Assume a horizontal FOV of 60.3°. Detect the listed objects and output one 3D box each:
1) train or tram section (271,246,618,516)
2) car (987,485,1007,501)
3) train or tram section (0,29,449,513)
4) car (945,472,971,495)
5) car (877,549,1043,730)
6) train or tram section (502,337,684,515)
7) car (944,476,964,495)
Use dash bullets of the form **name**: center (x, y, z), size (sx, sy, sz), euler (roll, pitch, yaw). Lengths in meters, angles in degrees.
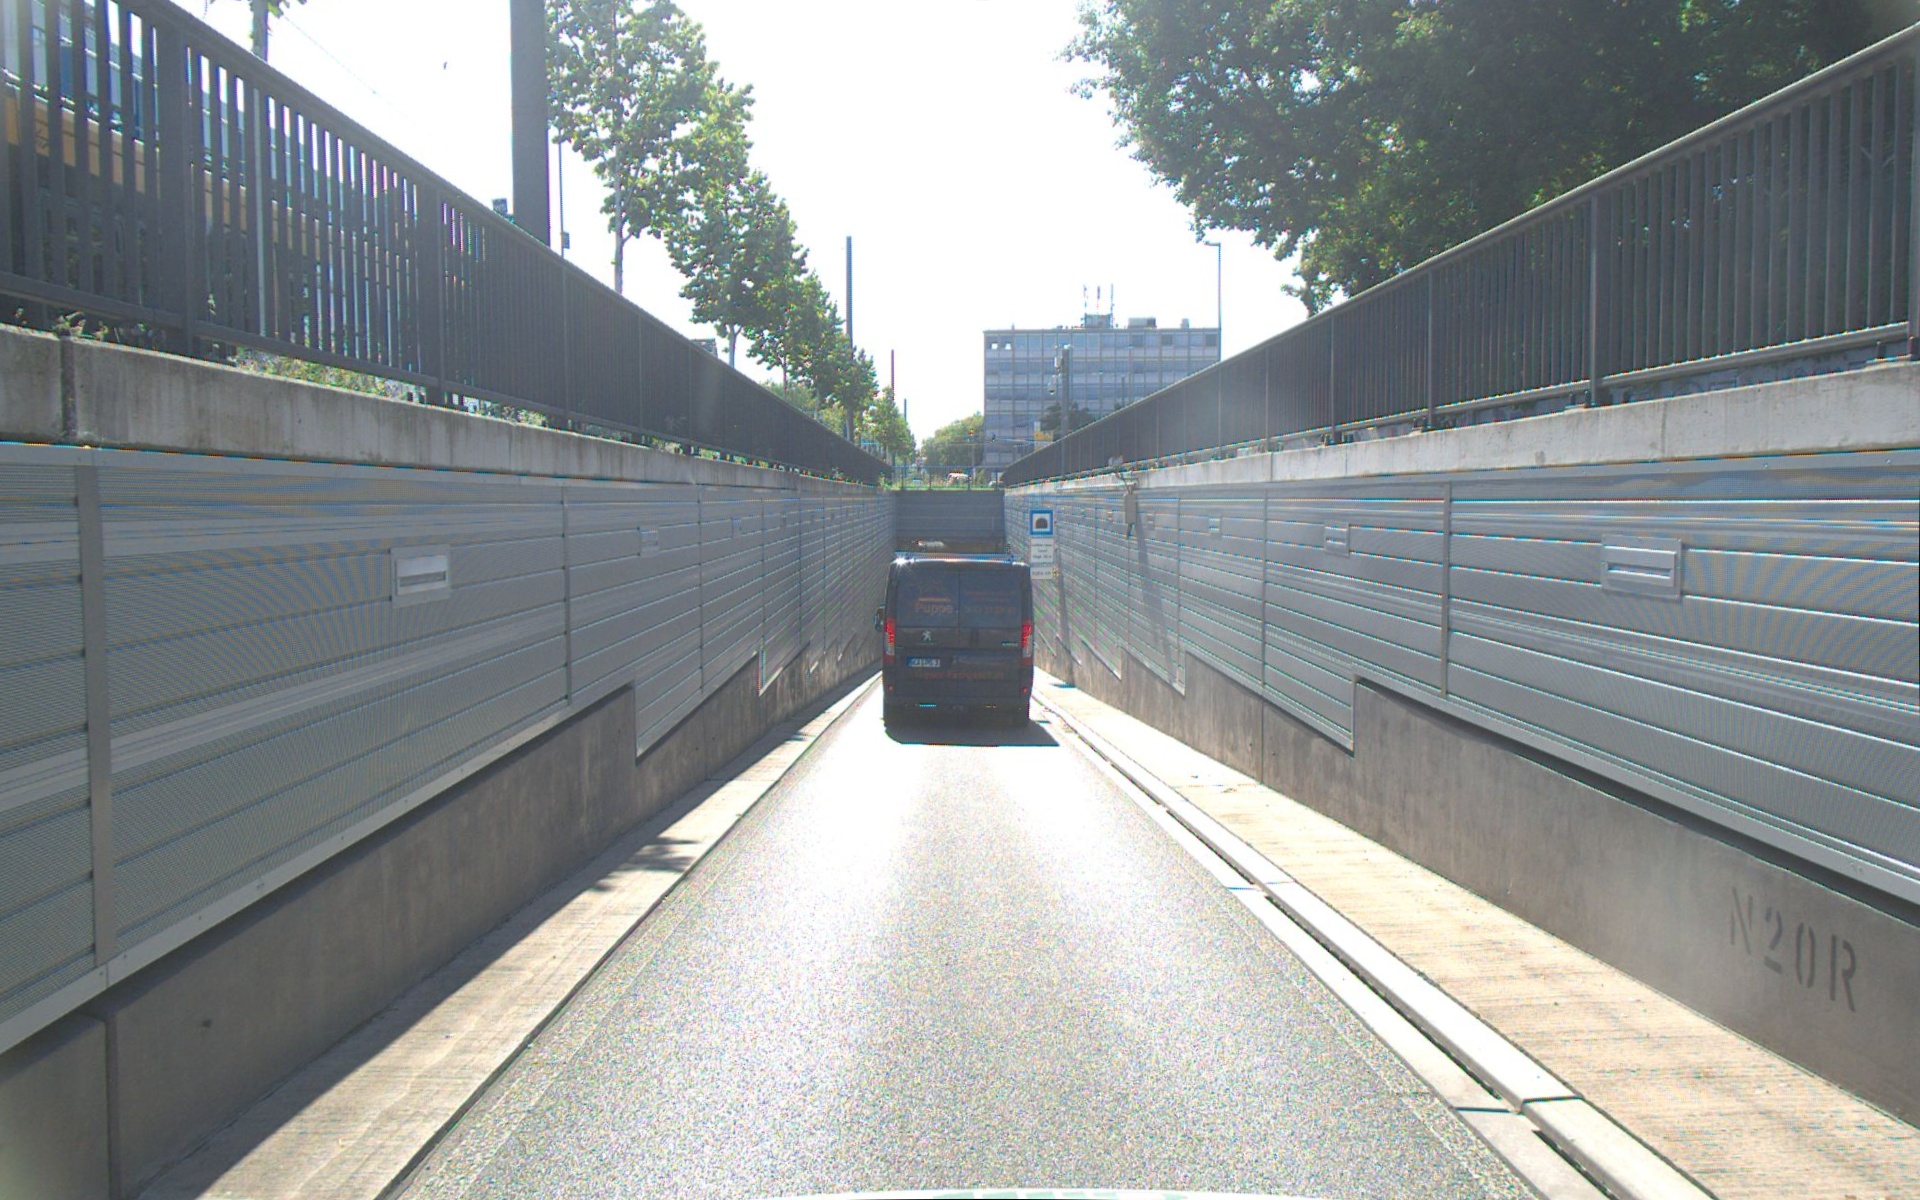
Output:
- **train or tram section**: center (-8.975, -3.560, 30.975), size (2.557, 3.886, 13.092), euler (1, 3, -1)
- **car**: center (3.485, -10.109, 156.333), size (1.705, 1.445, 4.000), euler (0, 3, -2)
- **train or tram section**: center (-8.822, -2.859, 17.796), size (2.557, 3.718, 13.345), euler (1, 3, 0)
- **car**: center (-0.160, -8.217, 116.860), size (1.705, 1.589, 4.000), euler (0, 3, -2)
- **car**: center (-0.002, 0.535, 23.649), size (2.114, 2.305, 4.636), euler (1, -1, 0)
- **train or tram section**: center (-9.154, -4.200, 42.489), size (2.559, 3.920, 9.972), euler (1, 3, -1)
- **car**: center (-0.542, -10.004, 144.661), size (1.705, 1.589, 4.000), euler (0, 3, -2)
